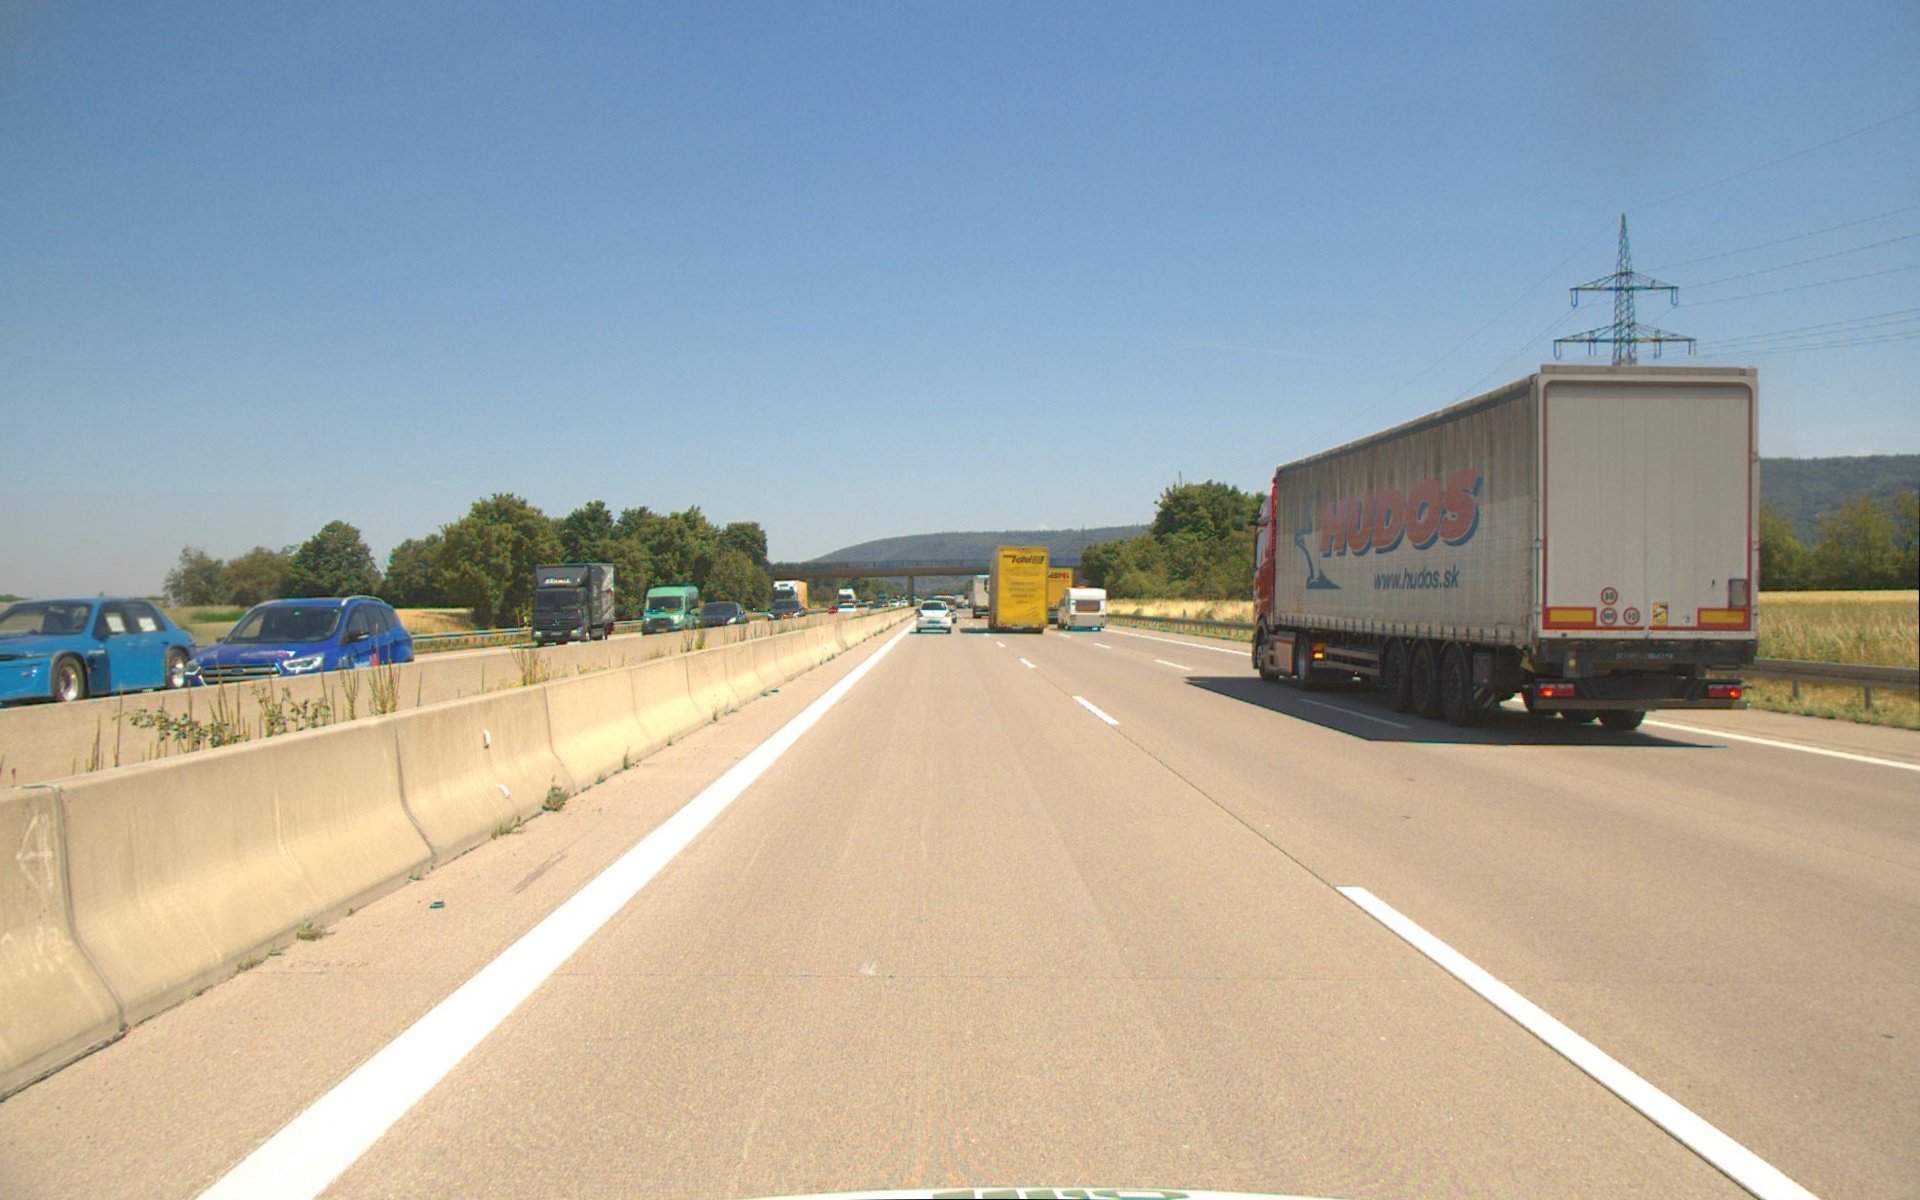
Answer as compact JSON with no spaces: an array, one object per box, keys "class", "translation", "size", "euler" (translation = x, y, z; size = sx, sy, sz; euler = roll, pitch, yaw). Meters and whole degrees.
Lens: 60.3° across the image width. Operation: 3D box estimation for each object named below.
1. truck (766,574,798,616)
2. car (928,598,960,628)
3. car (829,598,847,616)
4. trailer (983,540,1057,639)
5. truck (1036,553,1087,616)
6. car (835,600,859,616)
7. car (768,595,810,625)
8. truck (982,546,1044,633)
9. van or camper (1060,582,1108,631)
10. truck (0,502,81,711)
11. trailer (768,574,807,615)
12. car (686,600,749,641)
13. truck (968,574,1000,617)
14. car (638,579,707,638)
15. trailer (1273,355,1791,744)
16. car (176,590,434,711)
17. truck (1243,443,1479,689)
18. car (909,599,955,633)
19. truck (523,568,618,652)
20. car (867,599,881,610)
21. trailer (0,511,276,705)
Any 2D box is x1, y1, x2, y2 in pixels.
[{"class":"truck","translation":[-18.723,-0.547,174.173],"size":[2.810,4.269,5.228],"euler":[-2,0,-1]},{"class":"car","translation":[-1.159,0.890,118.710],"size":[2.208,2.049,4.297],"euler":[1,0,0]},{"class":"car","translation":[-14.007,0.809,190.559],"size":[1.954,2.049,3.998],"euler":[-1,0,-3]},{"class":"trailer","translation":[2.959,-0.531,85.433],"size":[3.150,4.643,13.455],"euler":[1,0,0]},{"class":"truck","translation":[7.400,-1.085,121.850],"size":[2.938,4.390,9.682],"euler":[1,0,-1]},{"class":"car","translation":[-10.606,0.730,156.041],"size":[1.953,1.388,4.669],"euler":[-2,0,-1]},{"class":"car","translation":[-9.760,0.557,94.646],"size":[1.953,1.604,4.848],"euler":[1,0,-1]},{"class":"truck","translation":[2.929,-0.551,92.366],"size":[3.150,4.643,5.835],"euler":[1,0,-1]},{"class":"van or camper","translation":[6.851,0.336,91.887],"size":[2.179,2.575,5.429],"euler":[1,0,-1]},{"class":"truck","translation":[-16.654,0.091,26.451],"size":[2.434,3.367,5.262],"euler":[1,0,-2]},{"class":"trailer","translation":[-18.836,-0.552,181.450],"size":[2.814,4.271,14.137],"euler":[-2,0,-1]},{"class":"car","translation":[-9.743,0.797,66.864],"size":[1.901,1.585,4.887],"euler":[-1,0,-1]},{"class":"truck","translation":[2.177,-0.401,153.587],"size":[2.763,3.827,6.282],"euler":[1,0,-1]},{"class":"car","translation":[-13.150,0.376,76.002],"size":[2.105,2.595,6.462],"euler":[-1,0,-1]},{"class":"trailer","translation":[7.507,-0.565,24.734],"size":[2.815,4.172,13.510],"euler":[1,0,-1]},{"class":"car","translation":[-8.483,0.591,21.867],"size":[1.743,1.372,4.451],"euler":[2,0,-2]},{"class":"truck","translation":[7.431,-0.586,31.557],"size":[2.847,4.172,6.270],"euler":[1,0,-1]},{"class":"car","translation":[-1.320,0.741,79.469],"size":[2.064,1.563,4.122],"euler":[1,0,1]},{"class":"truck","translation":[-17.597,0.406,75.216],"size":[2.503,3.574,7.883],"euler":[-1,0,-1]},{"class":"car","translation":[-11.216,0.592,216.733],"size":[1.656,1.355,3.999],"euler":[1,0,-1]},{"class":"trailer","translation":[-16.804,0.119,33.161],"size":[2.464,3.330,9.250],"euler":[1,0,-1]}]
